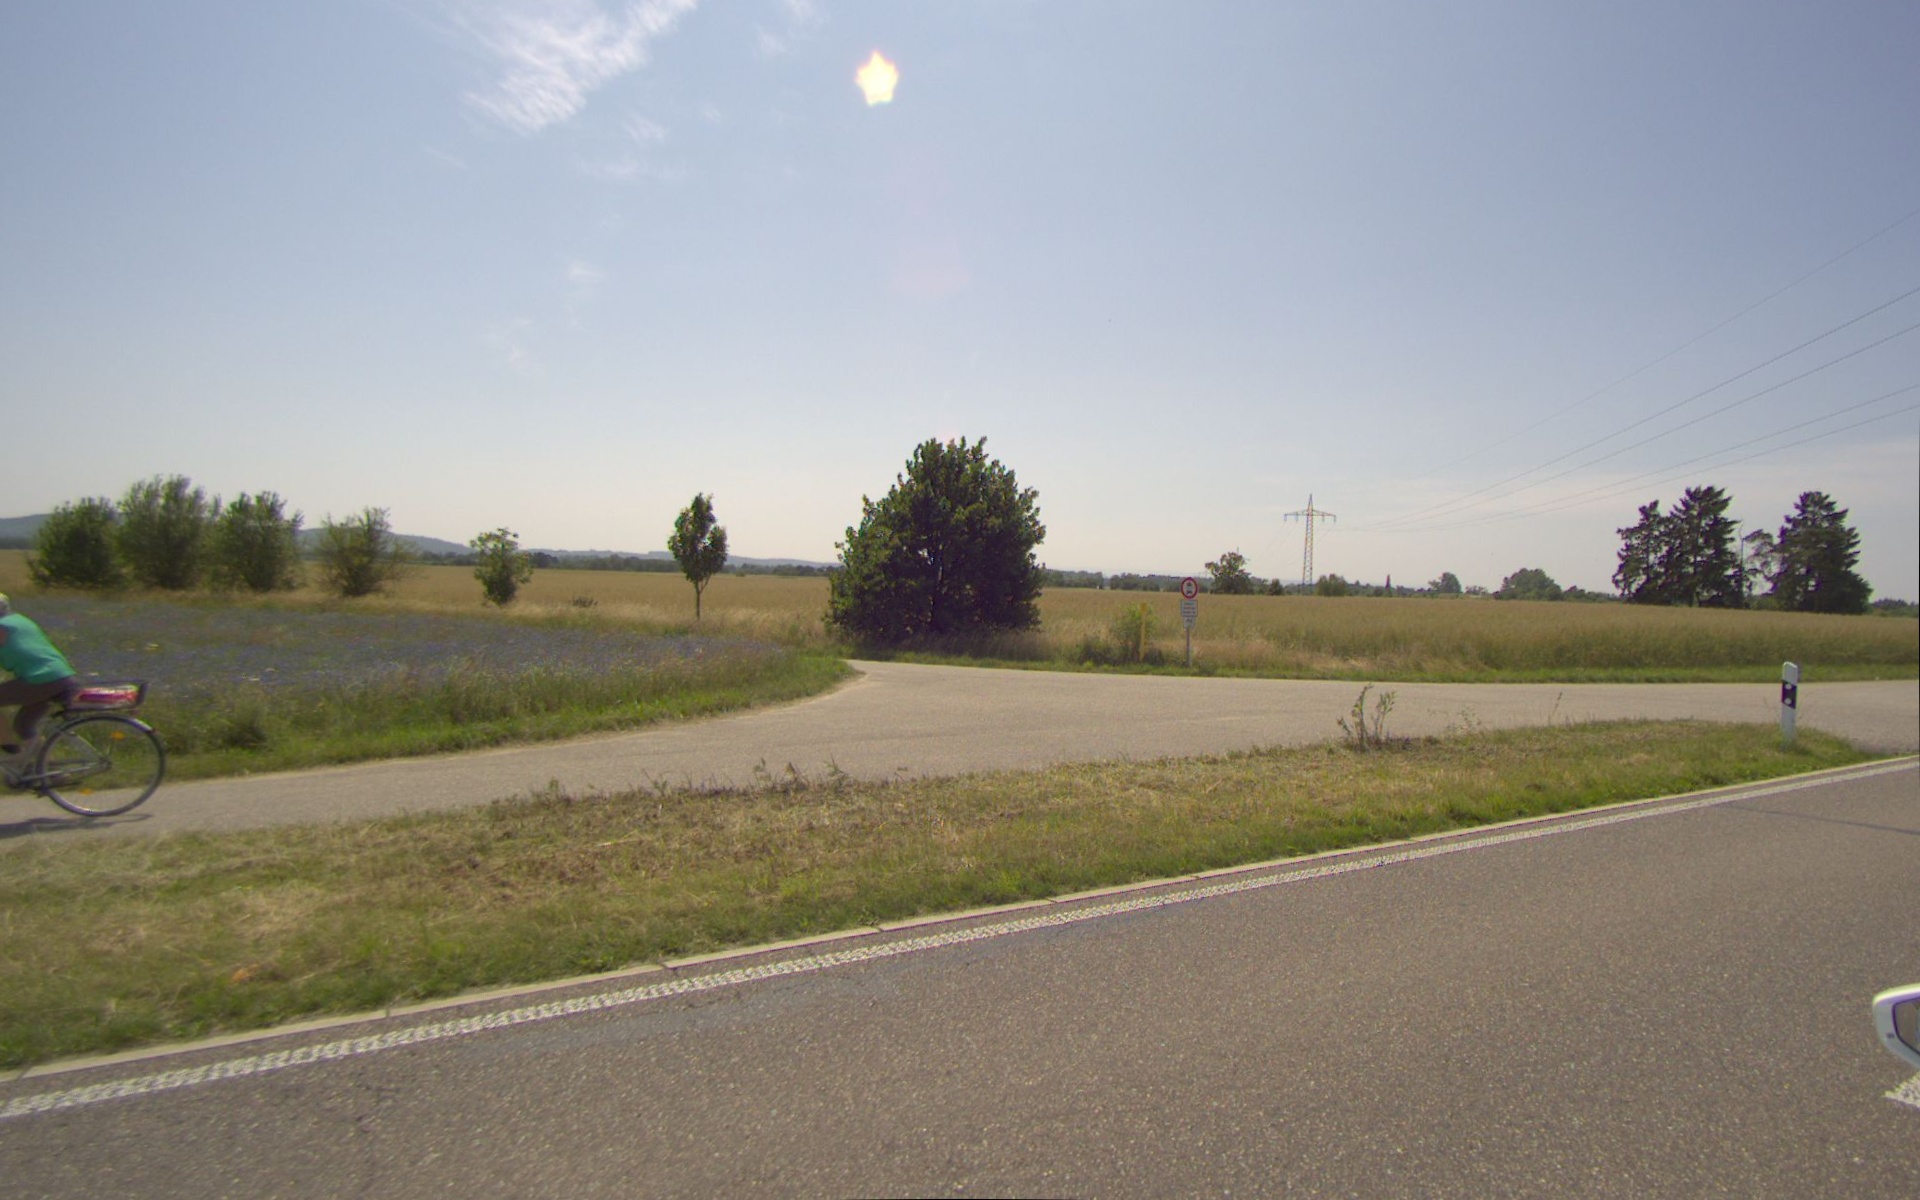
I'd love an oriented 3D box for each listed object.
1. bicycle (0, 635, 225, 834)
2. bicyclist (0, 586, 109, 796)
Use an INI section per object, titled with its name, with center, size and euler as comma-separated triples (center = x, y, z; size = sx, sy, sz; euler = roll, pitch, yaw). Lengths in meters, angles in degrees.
[bicycle]
center = -6.352, 0.873, 6.745
size = 2.189, 1.245, 0.759
euler = 1, 1, -30
[bicyclist]
center = -6.429, 0.583, 6.745
size = 0.954, 1.349, 0.698
euler = 1, 1, -30
